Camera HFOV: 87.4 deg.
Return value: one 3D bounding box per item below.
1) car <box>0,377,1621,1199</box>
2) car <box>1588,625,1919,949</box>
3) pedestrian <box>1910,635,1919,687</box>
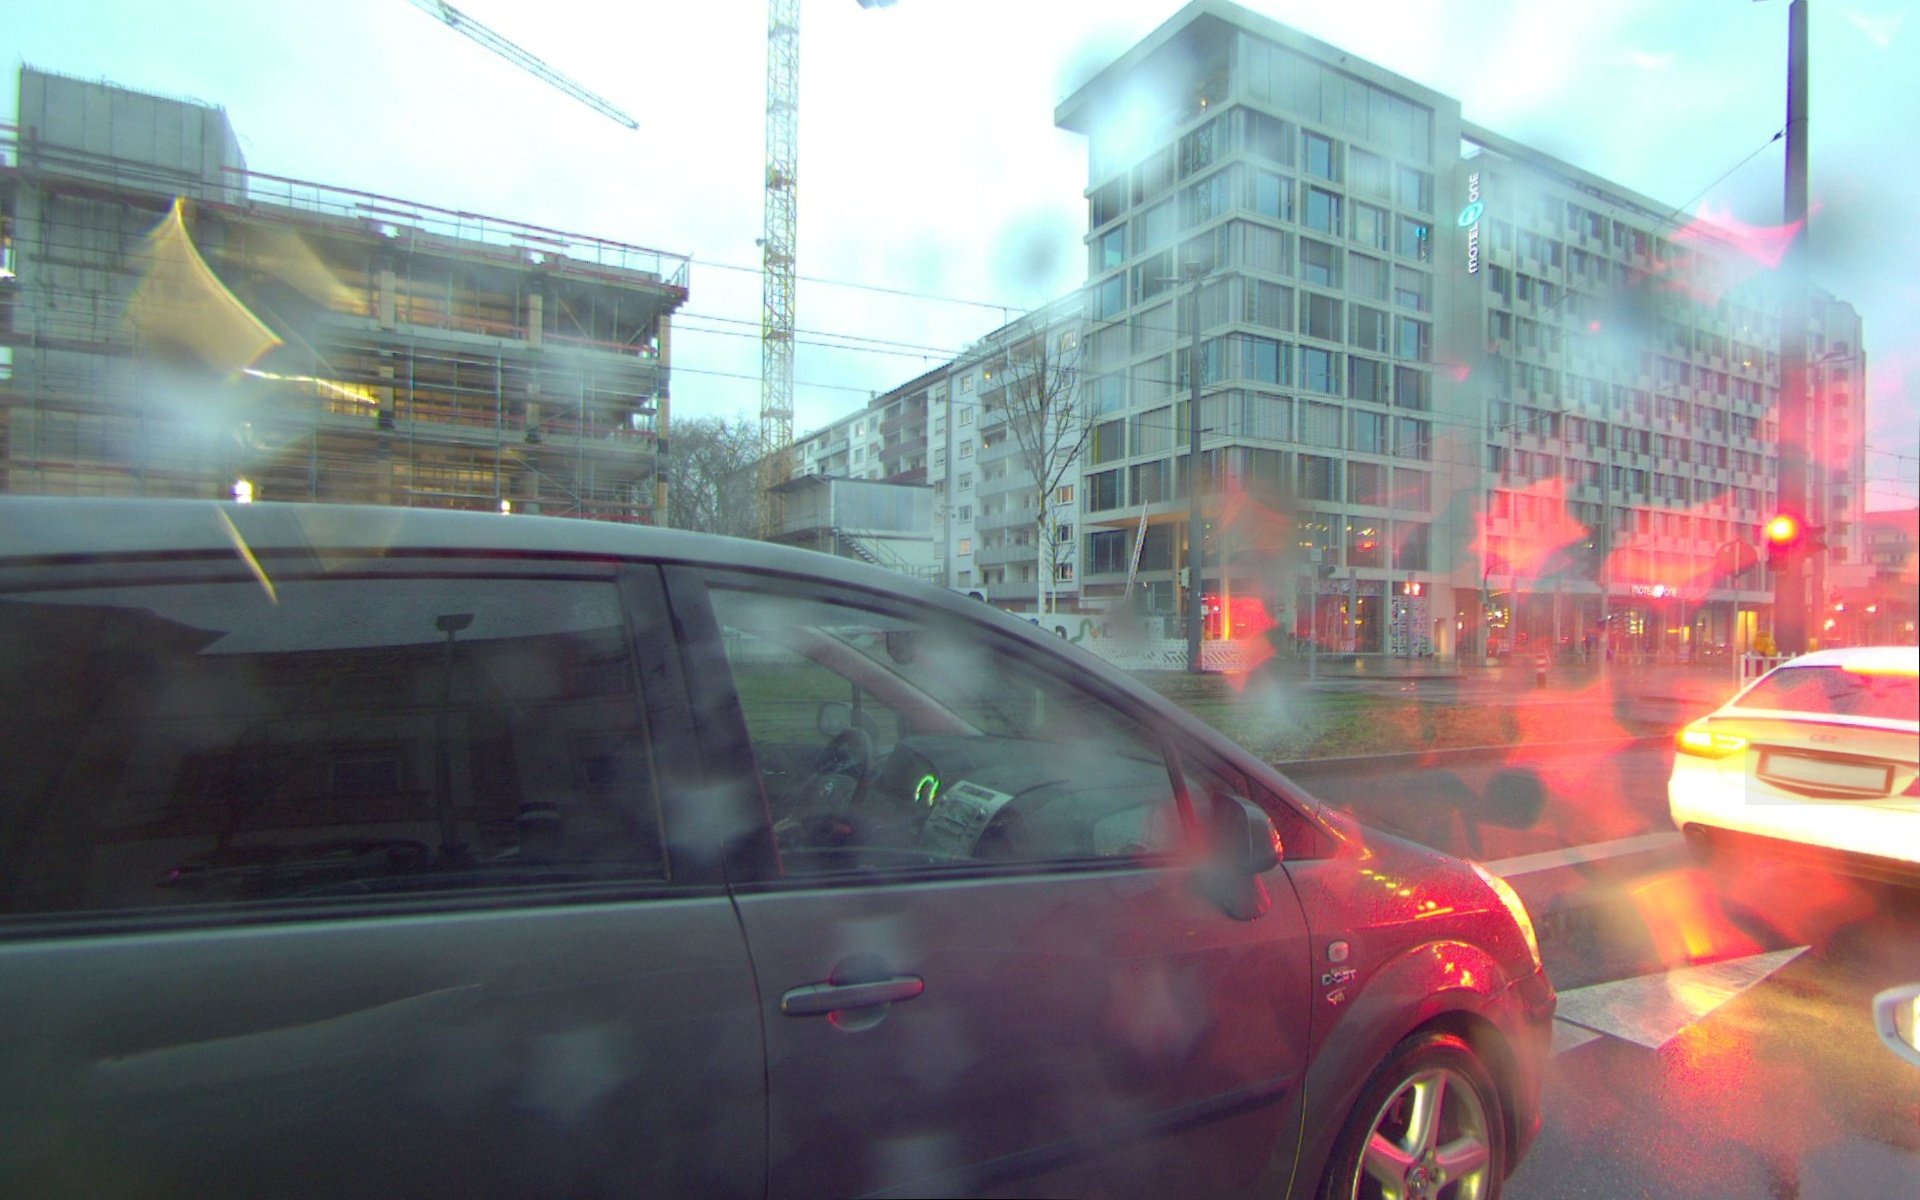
[{"bbox_3d":[-0.590,0.653,2.129,4.089,1.668,1.801,1,0,-32],"label":"car"},{"bbox_3d":[6.053,0.929,6.233,4.320,1.475,1.983,1,0,-32],"label":"car"},{"bbox_3d":[32.791,2.090,34.050,0.808,1.734,0.782,2,0,-45],"label":"pedestrian"}]
